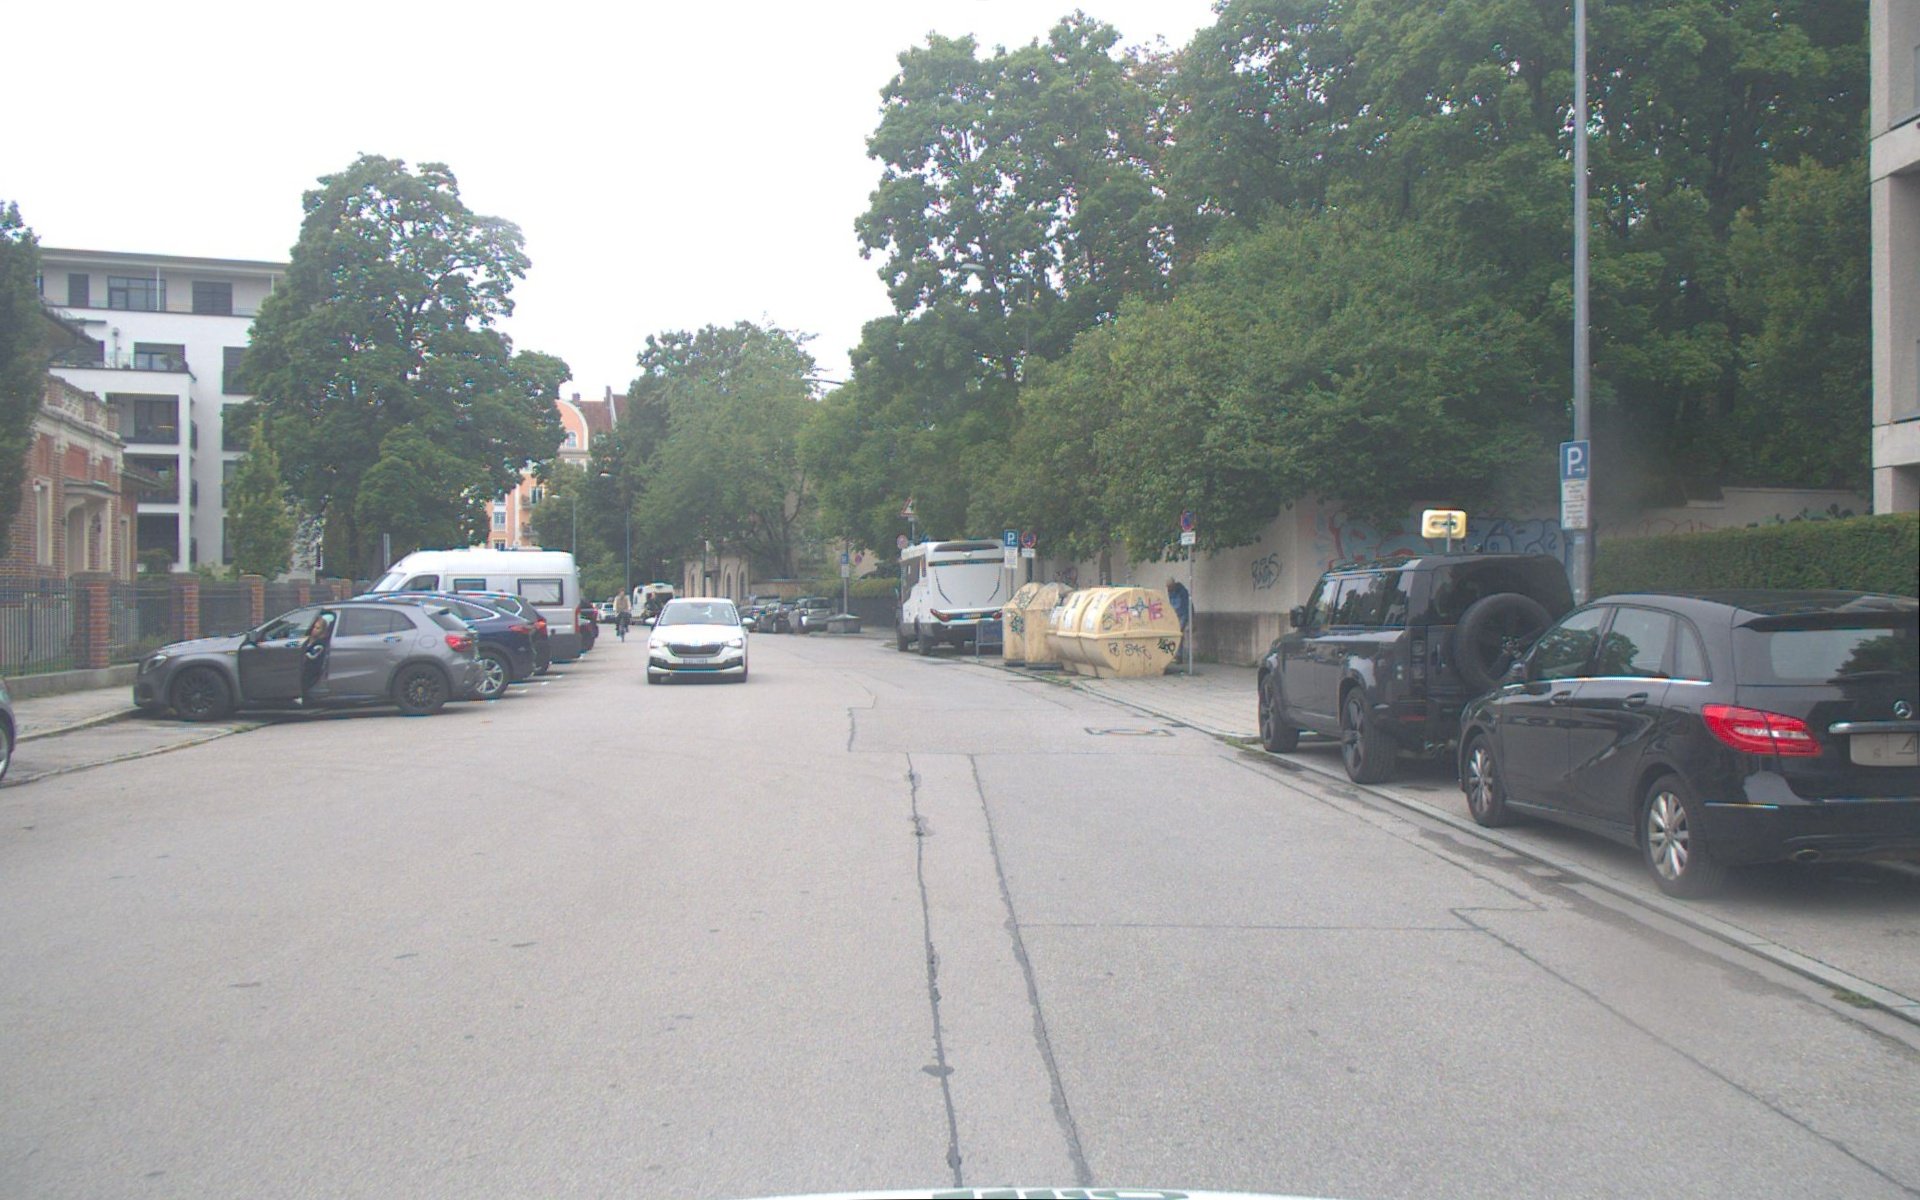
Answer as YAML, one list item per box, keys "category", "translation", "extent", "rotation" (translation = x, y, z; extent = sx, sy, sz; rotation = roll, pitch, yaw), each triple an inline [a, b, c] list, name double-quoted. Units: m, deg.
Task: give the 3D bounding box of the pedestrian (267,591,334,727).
- category: "pedestrian"
  translation: [-8.377, 0.742, 21.030]
  extent: [0.578, 1.676, 0.713]
  rotation: [-2, 0, -7]

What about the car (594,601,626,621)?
- category: "car"
  translation: [-25.976, 0.812, 122.678]
  extent: [1.683, 1.432, 4.102]
  rotation: [-2, 1, -22]

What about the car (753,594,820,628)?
- category: "car"
  translation: [-7.988, 0.506, 75.945]
  extent: [1.852, 1.452, 4.191]
  rotation: [-2, 1, -23]

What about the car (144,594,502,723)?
- category: "car"
  translation: [-8.415, 0.747, 22.250]
  extent: [4.258, 1.556, 1.926]
  rotation: [-1, -1, -15]

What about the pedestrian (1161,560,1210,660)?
- category: "pedestrian"
  translation: [4.633, 0.191, 33.953]
  extent: [0.784, 2.020, 0.627]
  rotation: [-1, 0, -21]

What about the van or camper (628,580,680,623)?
- category: "van or camper"
  translation: [-19.570, 0.087, 105.597]
  extent: [2.161, 2.594, 5.691]
  rotation: [-2, 1, -21]

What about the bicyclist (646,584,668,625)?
- category: "bicyclist"
  translation: [-10.382, 0.159, 56.678]
  extent: [0.685, 1.376, 0.927]
  rotation: [-1, 0, -14]

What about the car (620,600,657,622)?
- category: "car"
  translation: [-21.666, 0.751, 111.511]
  extent: [1.683, 1.393, 4.102]
  rotation: [-2, 1, -22]

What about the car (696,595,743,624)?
- category: "car"
  translation: [-12.989, 0.540, 89.178]
  extent: [1.661, 1.466, 3.976]
  rotation: [-2, 0, -20]

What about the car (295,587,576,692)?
- category: "car"
  translation: [-9.497, 0.692, 30.074]
  extent: [4.475, 1.653, 1.943]
  rotation: [-2, -1, -35]

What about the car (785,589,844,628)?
- category: "car"
  translation: [-6.371, 0.378, 72.162]
  extent: [1.716, 1.563, 2.924]
  rotation: [-2, 0, -23]

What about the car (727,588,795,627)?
- category: "car"
  translation: [-9.696, 0.355, 80.232]
  extent: [1.967, 1.741, 4.849]
  rotation: [-2, 1, -23]

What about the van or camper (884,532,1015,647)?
- category: "van or camper"
  translation: [-0.422, -0.285, 46.580]
  extent: [2.233, 2.957, 7.254]
  rotation: [-1, 0, -12]

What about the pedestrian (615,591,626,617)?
- category: "pedestrian"
  translation: [-26.651, 0.288, 129.926]
  extent: [0.762, 2.049, 0.559]
  rotation: [0, 0, -21]

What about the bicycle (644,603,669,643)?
- category: "bicycle"
  translation: [-10.433, 0.775, 56.863]
  extent: [0.694, 1.328, 2.110]
  rotation: [-1, 0, -14]

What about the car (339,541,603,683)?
- category: "car"
  translation: [-9.752, 0.181, 33.083]
  extent: [4.583, 2.608, 2.207]
  rotation: [-2, 1, -35]

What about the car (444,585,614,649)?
- category: "car"
  translation: [-12.726, 0.481, 48.978]
  extent: [4.487, 1.694, 1.958]
  rotation: [-2, 0, -41]

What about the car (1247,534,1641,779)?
- category: "car"
  translation: [4.221, 0.455, 15.429]
  extent: [1.948, 1.904, 5.074]
  rotation: [0, 0, -3]

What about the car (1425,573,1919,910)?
- category: "car"
  translation: [4.440, 0.640, 10.064]
  extent: [1.713, 1.566, 4.567]
  rotation: [-1, 0, -3]

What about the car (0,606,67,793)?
- category: "car"
  translation: [-8.915, 0.899, 12.870]
  extent: [1.705, 1.561, 4.147]
  rotation: [-3, 1, -2]

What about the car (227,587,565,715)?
- category: "car"
  translation: [-8.478, 0.712, 25.014]
  extent: [4.475, 1.621, 1.941]
  rotation: [-2, 0, -35]

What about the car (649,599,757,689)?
- category: "car"
  translation: [-4.599, 0.741, 30.047]
  extent: [1.738, 1.501, 4.128]
  rotation: [-1, 0, -7]

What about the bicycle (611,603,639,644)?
- category: "bicycle"
  translation: [-11.441, 0.785, 56.423]
  extent: [0.696, 1.328, 2.108]
  rotation: [-1, 0, -17]

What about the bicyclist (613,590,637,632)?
- category: "bicyclist"
  translation: [-11.429, 0.363, 56.366]
  extent: [0.686, 1.422, 0.925]
  rotation: [-1, 0, -18]

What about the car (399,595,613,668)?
- category: "car"
  translation: [-10.690, 0.705, 39.080]
  extent: [4.482, 1.476, 1.950]
  rotation: [-2, 1, -39]
